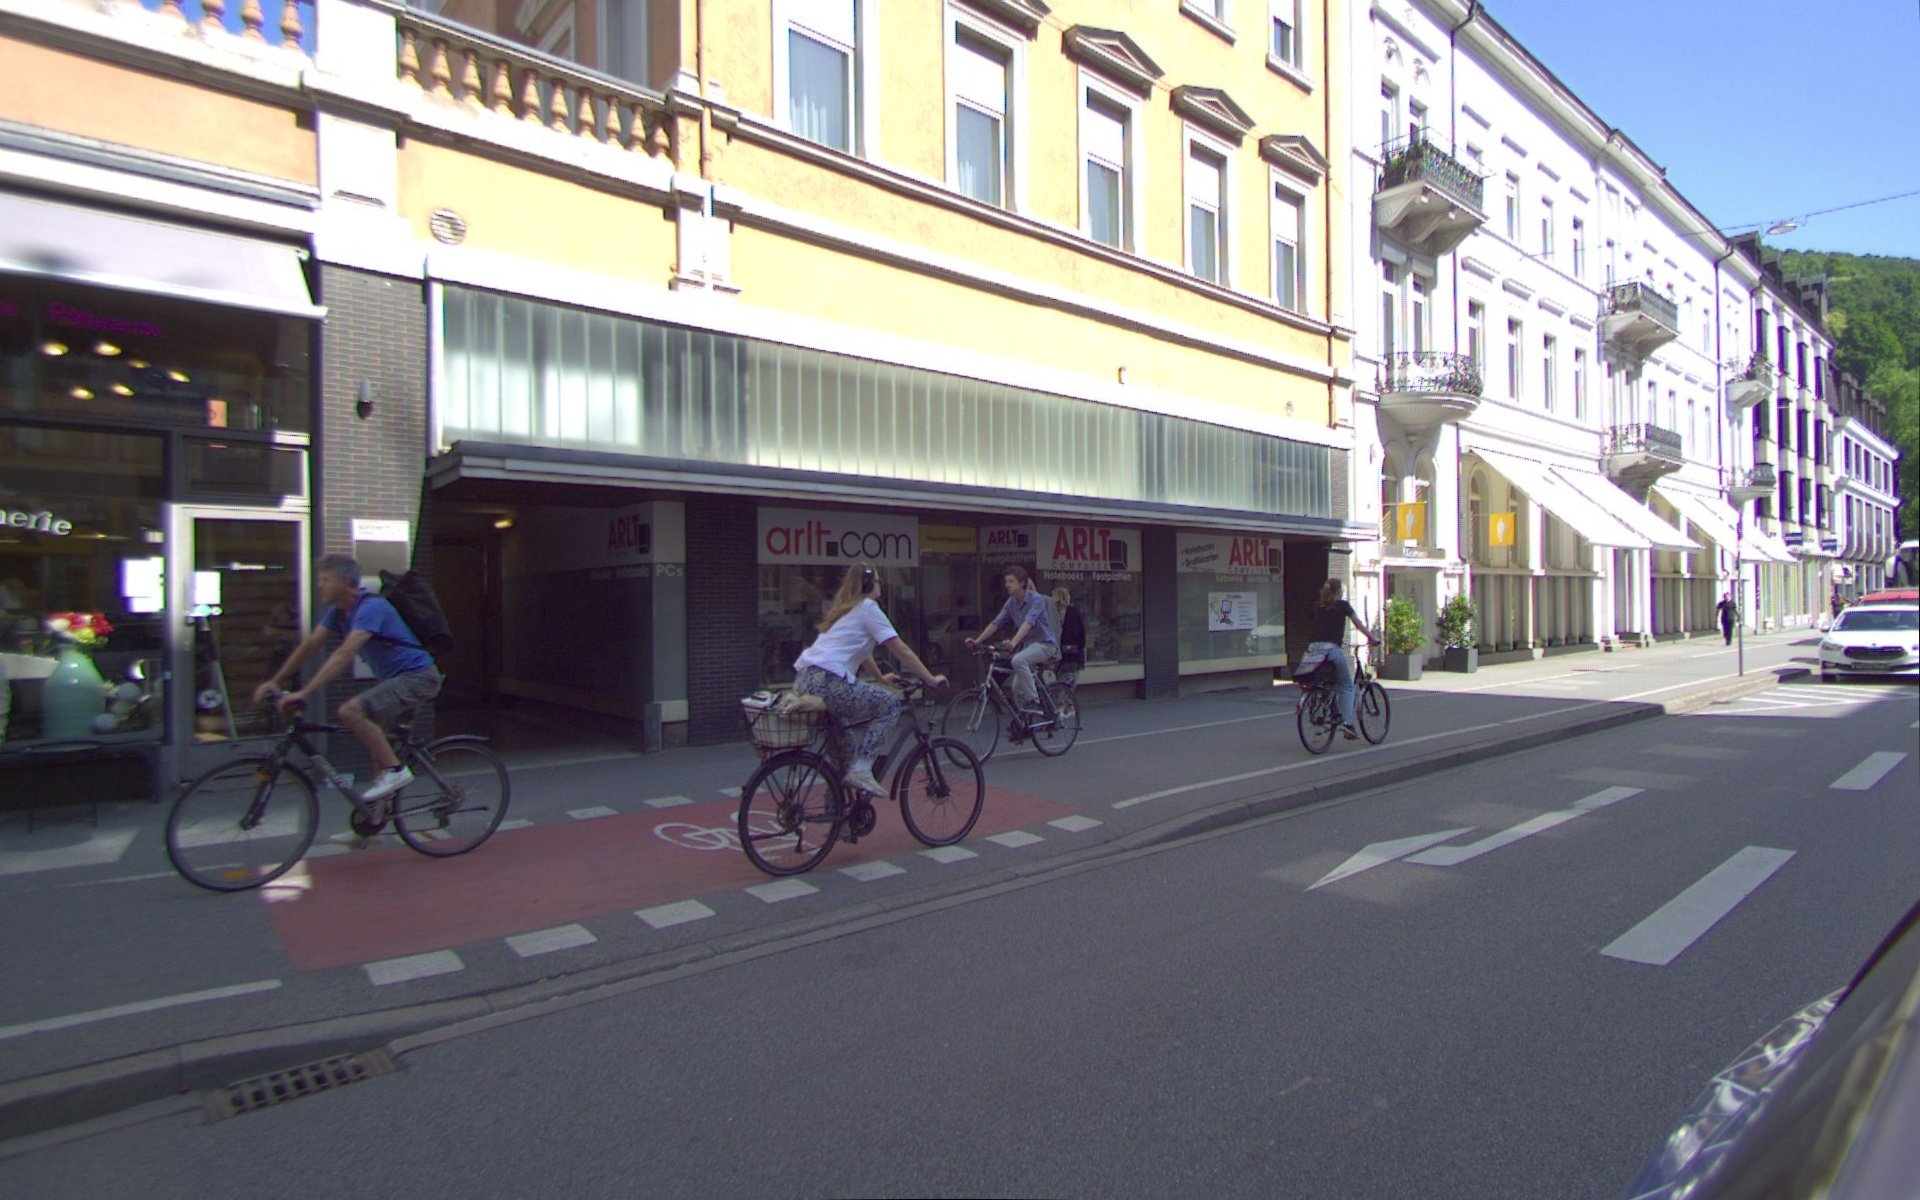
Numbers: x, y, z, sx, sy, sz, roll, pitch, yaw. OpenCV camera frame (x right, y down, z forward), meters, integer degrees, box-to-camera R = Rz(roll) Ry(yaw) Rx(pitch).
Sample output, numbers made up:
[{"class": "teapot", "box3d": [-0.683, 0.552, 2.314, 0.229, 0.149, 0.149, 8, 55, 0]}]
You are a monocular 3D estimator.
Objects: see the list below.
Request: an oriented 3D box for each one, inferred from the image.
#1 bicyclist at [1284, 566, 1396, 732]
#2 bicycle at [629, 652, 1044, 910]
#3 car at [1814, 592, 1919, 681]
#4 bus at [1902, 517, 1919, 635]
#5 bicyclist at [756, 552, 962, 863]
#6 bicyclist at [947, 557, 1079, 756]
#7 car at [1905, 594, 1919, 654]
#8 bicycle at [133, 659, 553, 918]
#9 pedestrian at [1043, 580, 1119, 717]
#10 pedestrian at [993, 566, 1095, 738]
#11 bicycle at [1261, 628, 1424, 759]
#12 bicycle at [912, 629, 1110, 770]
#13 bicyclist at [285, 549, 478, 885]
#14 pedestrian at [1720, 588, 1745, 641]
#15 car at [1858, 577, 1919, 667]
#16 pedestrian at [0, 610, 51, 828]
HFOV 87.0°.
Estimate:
[{"class": "bicyclist", "box3d": [3.839, 0.462, 10.224, 0.829, 1.593, 0.747, 0, 0, -40]}, {"class": "bicycle", "box3d": [-0.653, 0.974, 6.211, 2.527, 1.141, 0.743, -1, 1, -39]}, {"class": "car", "box3d": [18.406, 0.666, 19.973, 4.193, 1.544, 1.795, -1, -3, -43]}, {"class": "bus", "box3d": [34.320, -0.789, 34.056, 12.289, 3.580, 2.920, -1, 1, -43]}, {"class": "bicyclist", "box3d": [-0.615, 0.587, 6.223, 1.017, 1.724, 0.747, 0, 0, -40]}, {"class": "bicyclist", "box3d": [0.491, 0.488, 9.483, 0.830, 1.739, 0.909, -1, 0, -42]}, {"class": "car", "box3d": [26.473, 0.601, 26.754, 4.340, 1.506, 1.865, 0, -1, -43]}, {"class": "bicycle", "box3d": [-3.418, 0.956, 5.741, 1.956, 1.132, 0.663, 0, 0, -39]}, {"class": "pedestrian", "box3d": [1.546, 0.590, 12.936, 0.829, 1.686, 0.522, -1, 0, -40]}, {"class": "pedestrian", "box3d": [0.931, 0.539, 11.249, 0.754, 1.814, 0.840, 0, 0, -40]}, {"class": "bicycle", "box3d": [3.916, 0.891, 10.281, 2.056, 1.141, 0.596, 0, 1, -39]}, {"class": "bicycle", "box3d": [0.511, 0.870, 9.477, 1.885, 1.132, 0.747, 0, 0, -42]}, {"class": "bicyclist", "box3d": [-3.339, 0.597, 5.833, 0.829, 1.739, 0.840, 0, 0, -40]}, {"class": "pedestrian", "box3d": [24.873, 0.455, 32.583, 0.853, 1.690, 0.482, 0, -1, -41]}, {"class": "car", "box3d": [22.575, 0.504, 23.741, 4.529, 1.938, 1.699, 1, -6, -43]}, {"class": "pedestrian", "box3d": [-6.517, 0.761, 6.772, 0.614, 1.332, 1.088, 0, 2, -41]}]
